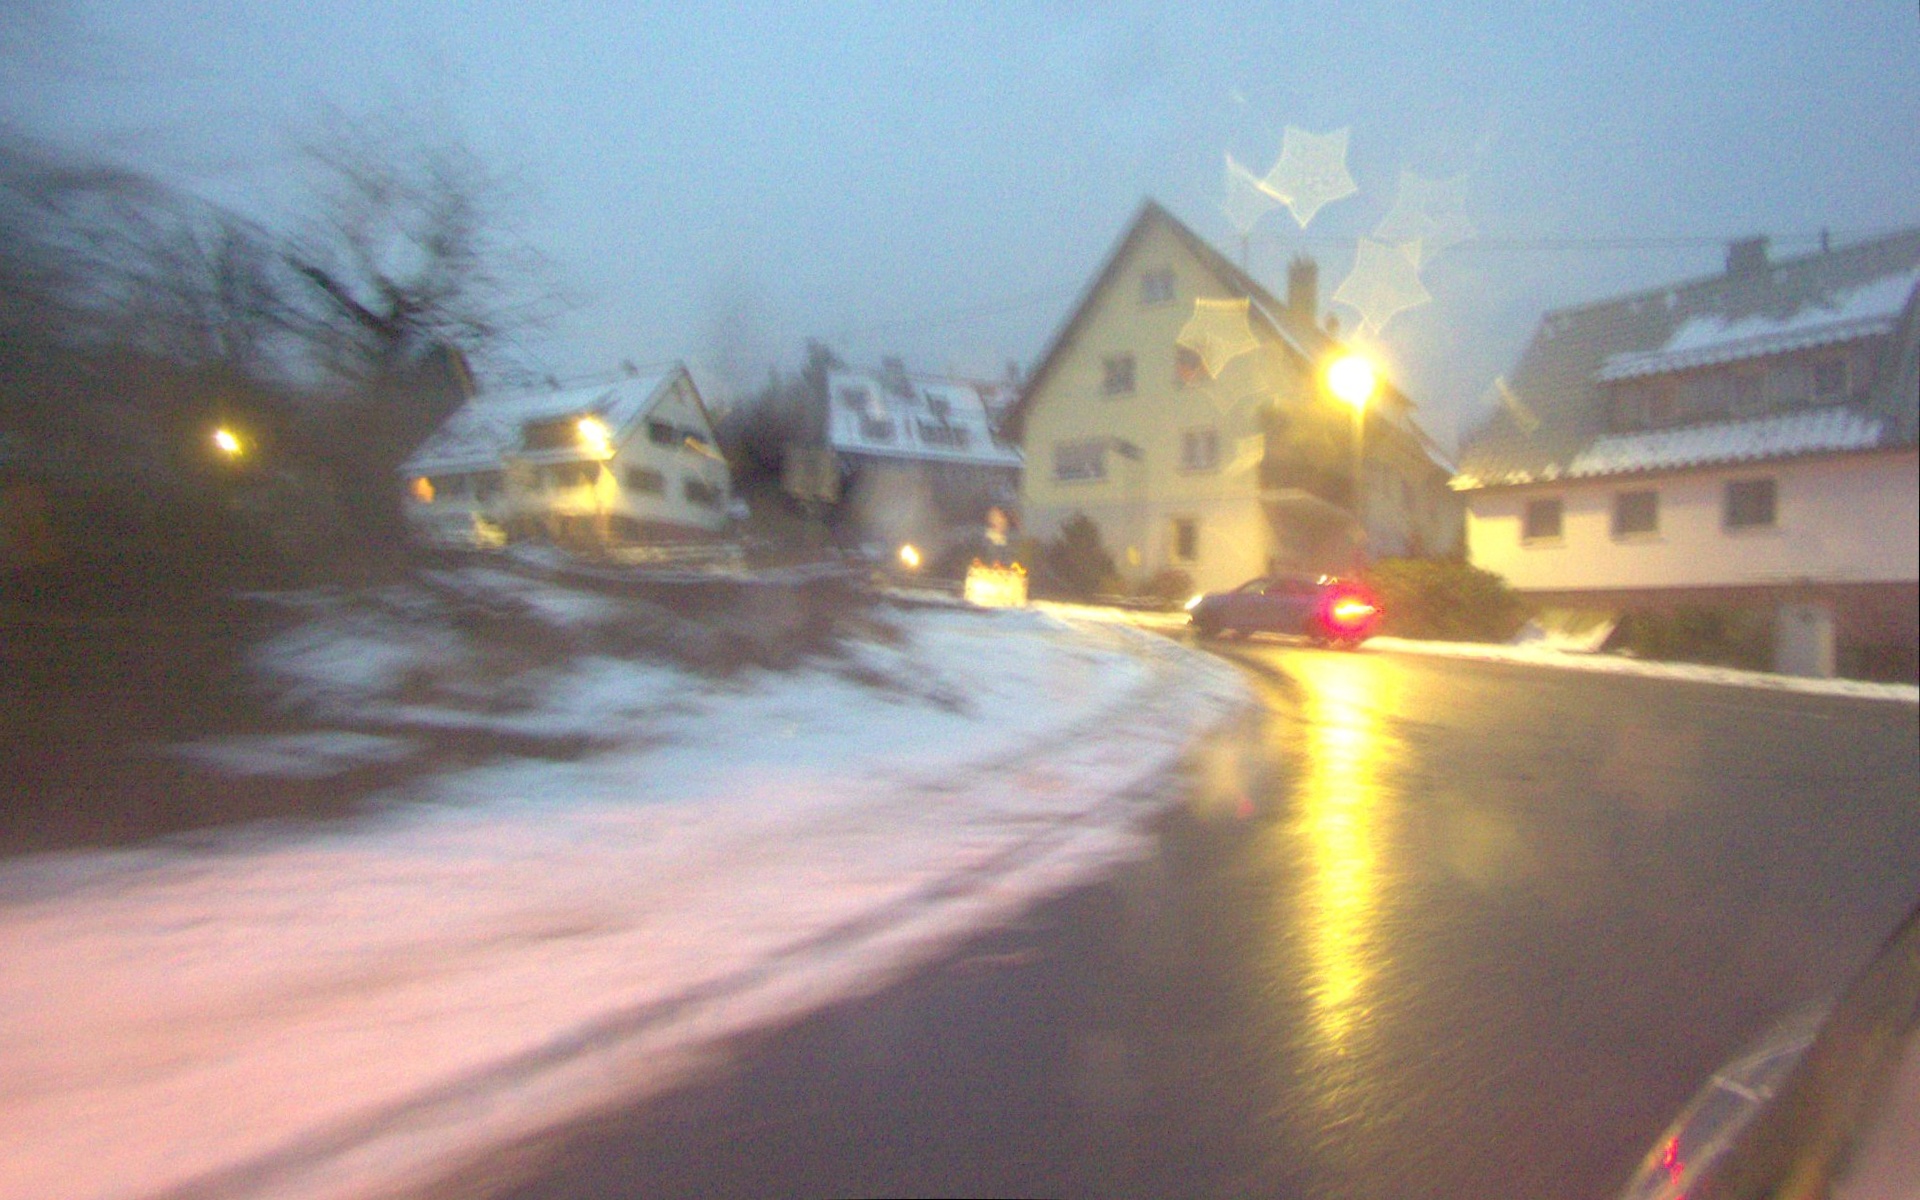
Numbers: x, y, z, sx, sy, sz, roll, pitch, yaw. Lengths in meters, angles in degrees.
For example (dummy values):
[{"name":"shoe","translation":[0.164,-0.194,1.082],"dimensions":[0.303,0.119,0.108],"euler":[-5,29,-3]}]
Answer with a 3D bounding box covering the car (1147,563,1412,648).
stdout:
[{"name":"car","translation":[6.576,0.062,21.267],"dimensions":[1.967,1.398,4.923],"euler":[2,2,-44]}]
